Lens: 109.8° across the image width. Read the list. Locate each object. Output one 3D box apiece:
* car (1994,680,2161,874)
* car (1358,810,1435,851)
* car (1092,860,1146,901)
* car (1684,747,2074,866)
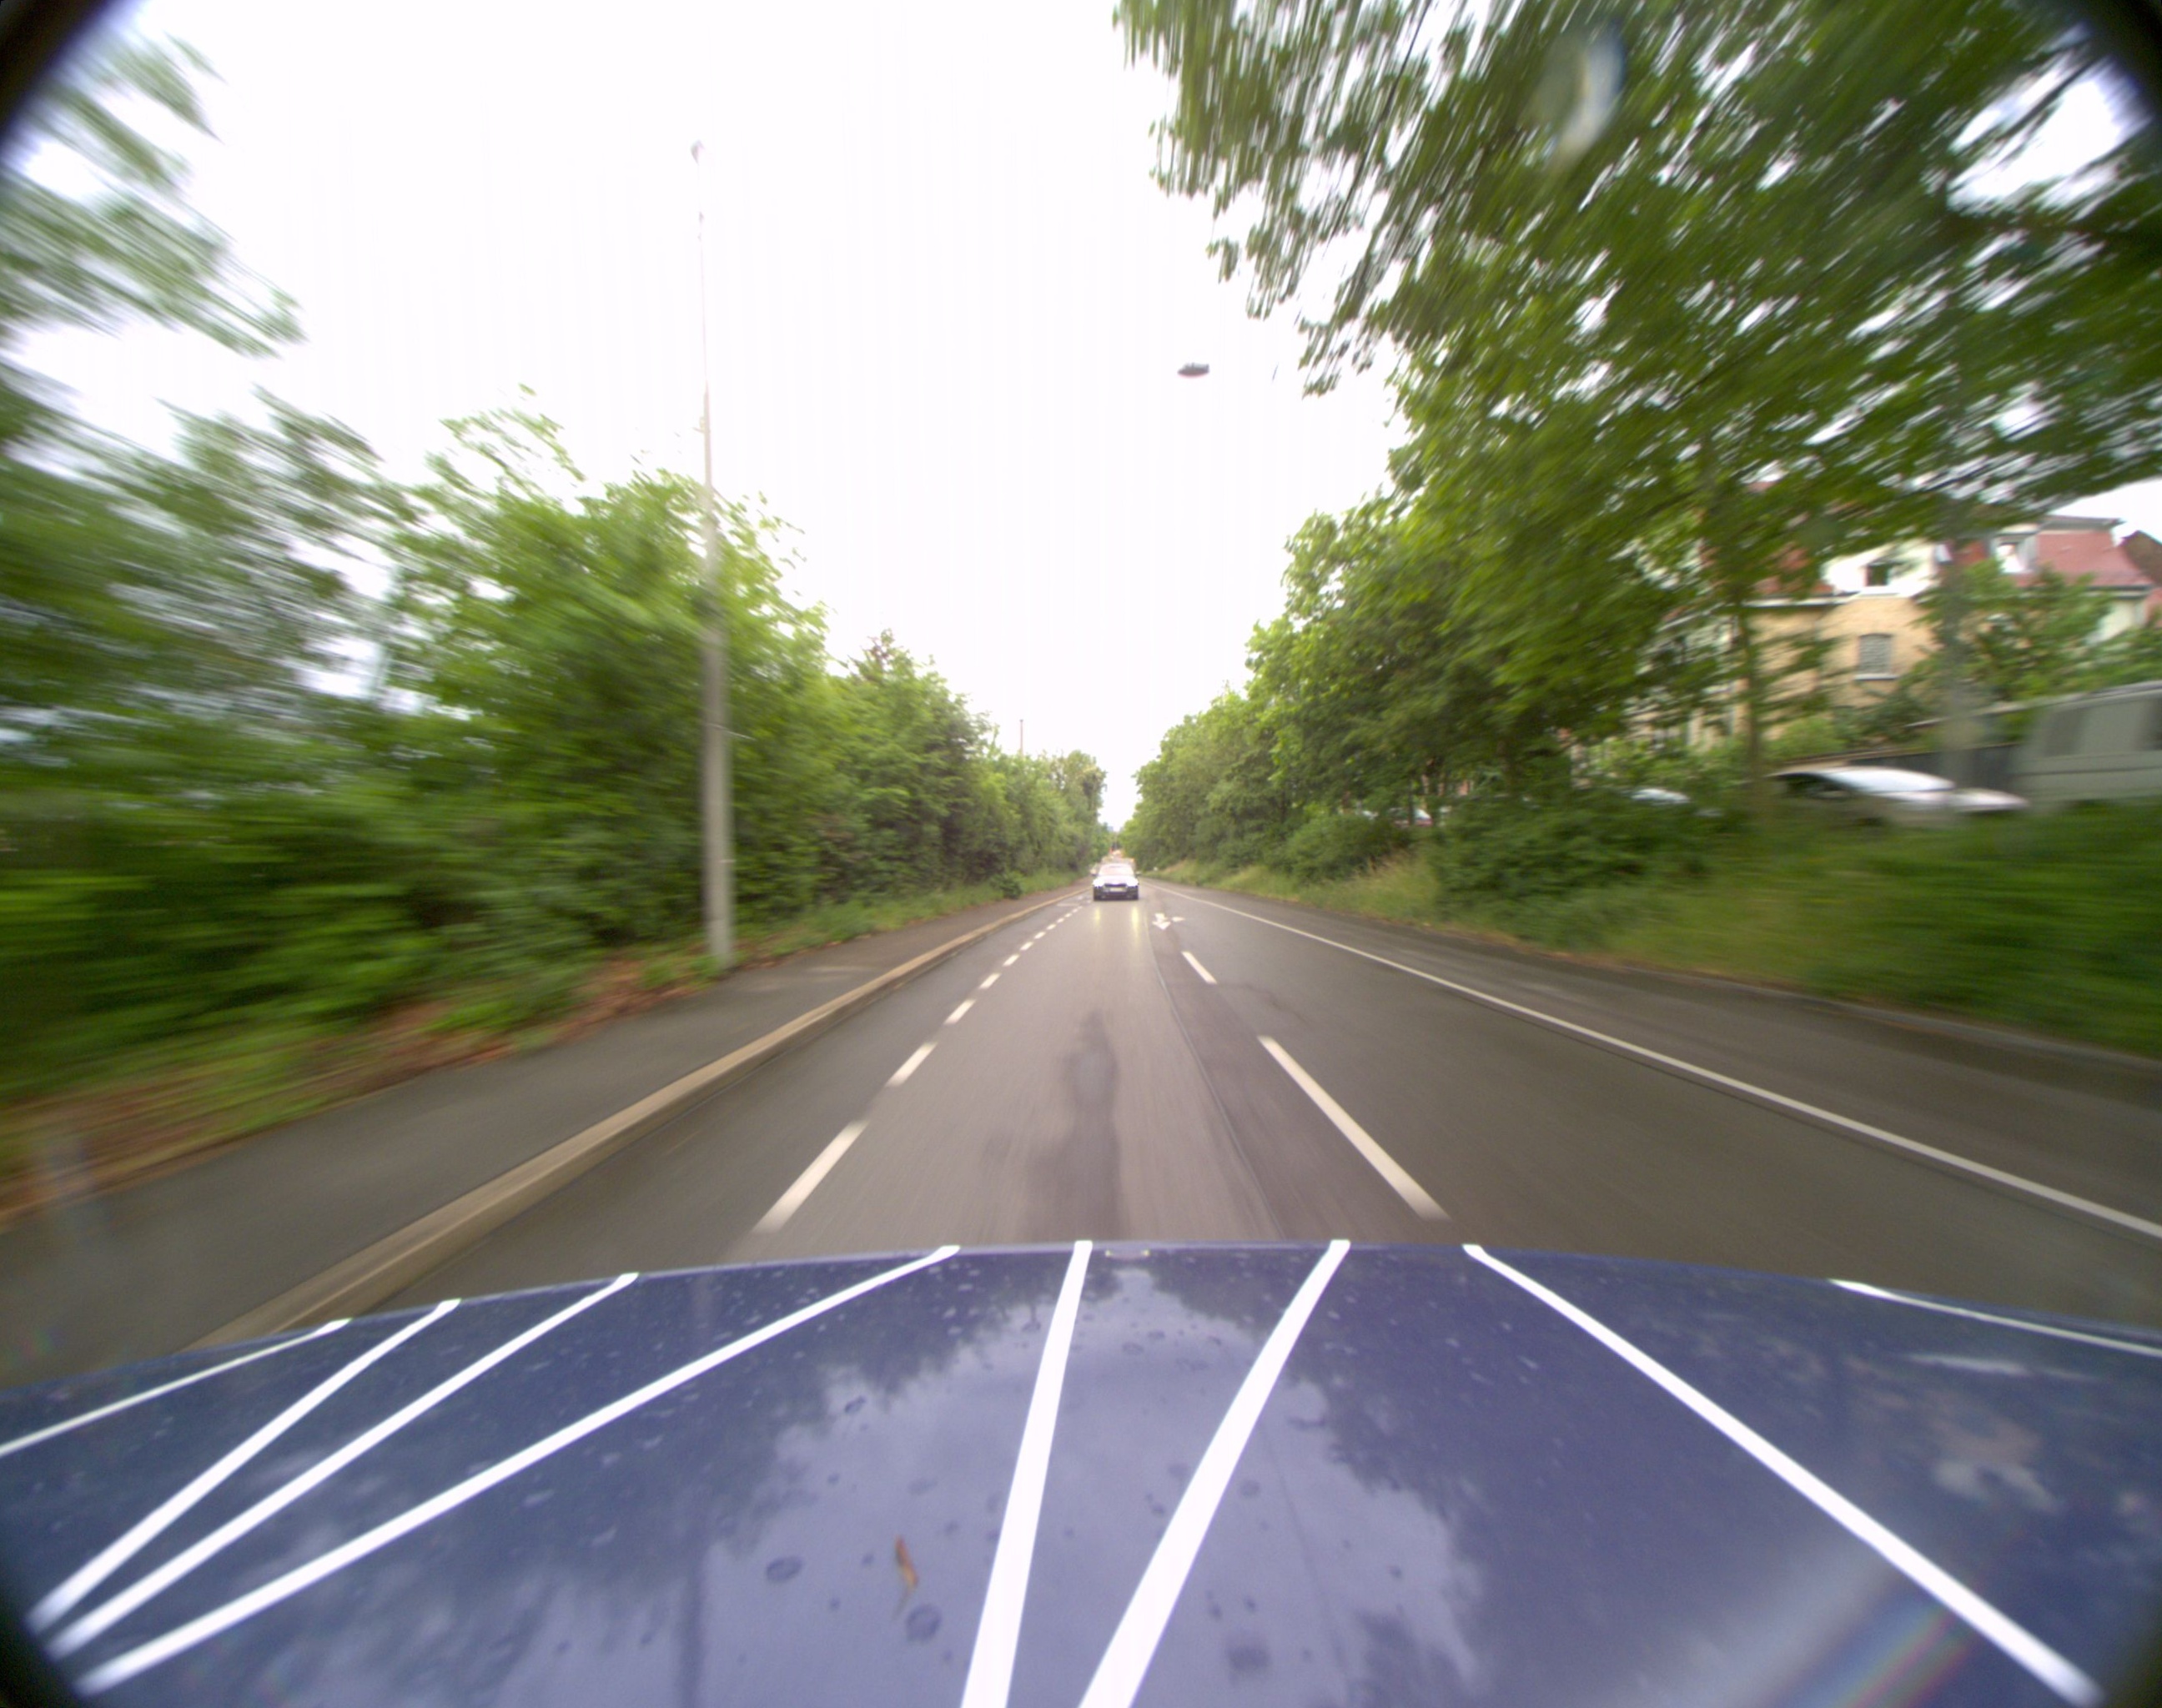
[{"bbox_3d":[12.149,-0.842,7.020,1.998,2.001,4.629,-2,-1,5],"label":"car"},{"bbox_3d":[13.719,-0.965,33.351,1.834,1.548,4.287,-2,-1,5],"label":"car"},{"bbox_3d":[1.471,1.027,30.711,1.981,1.496,4.001,-2,-1,1],"label":"car"},{"bbox_3d":[12.715,-0.616,12.681,1.834,1.548,4.629,-2,-1,5],"label":"car"}]
